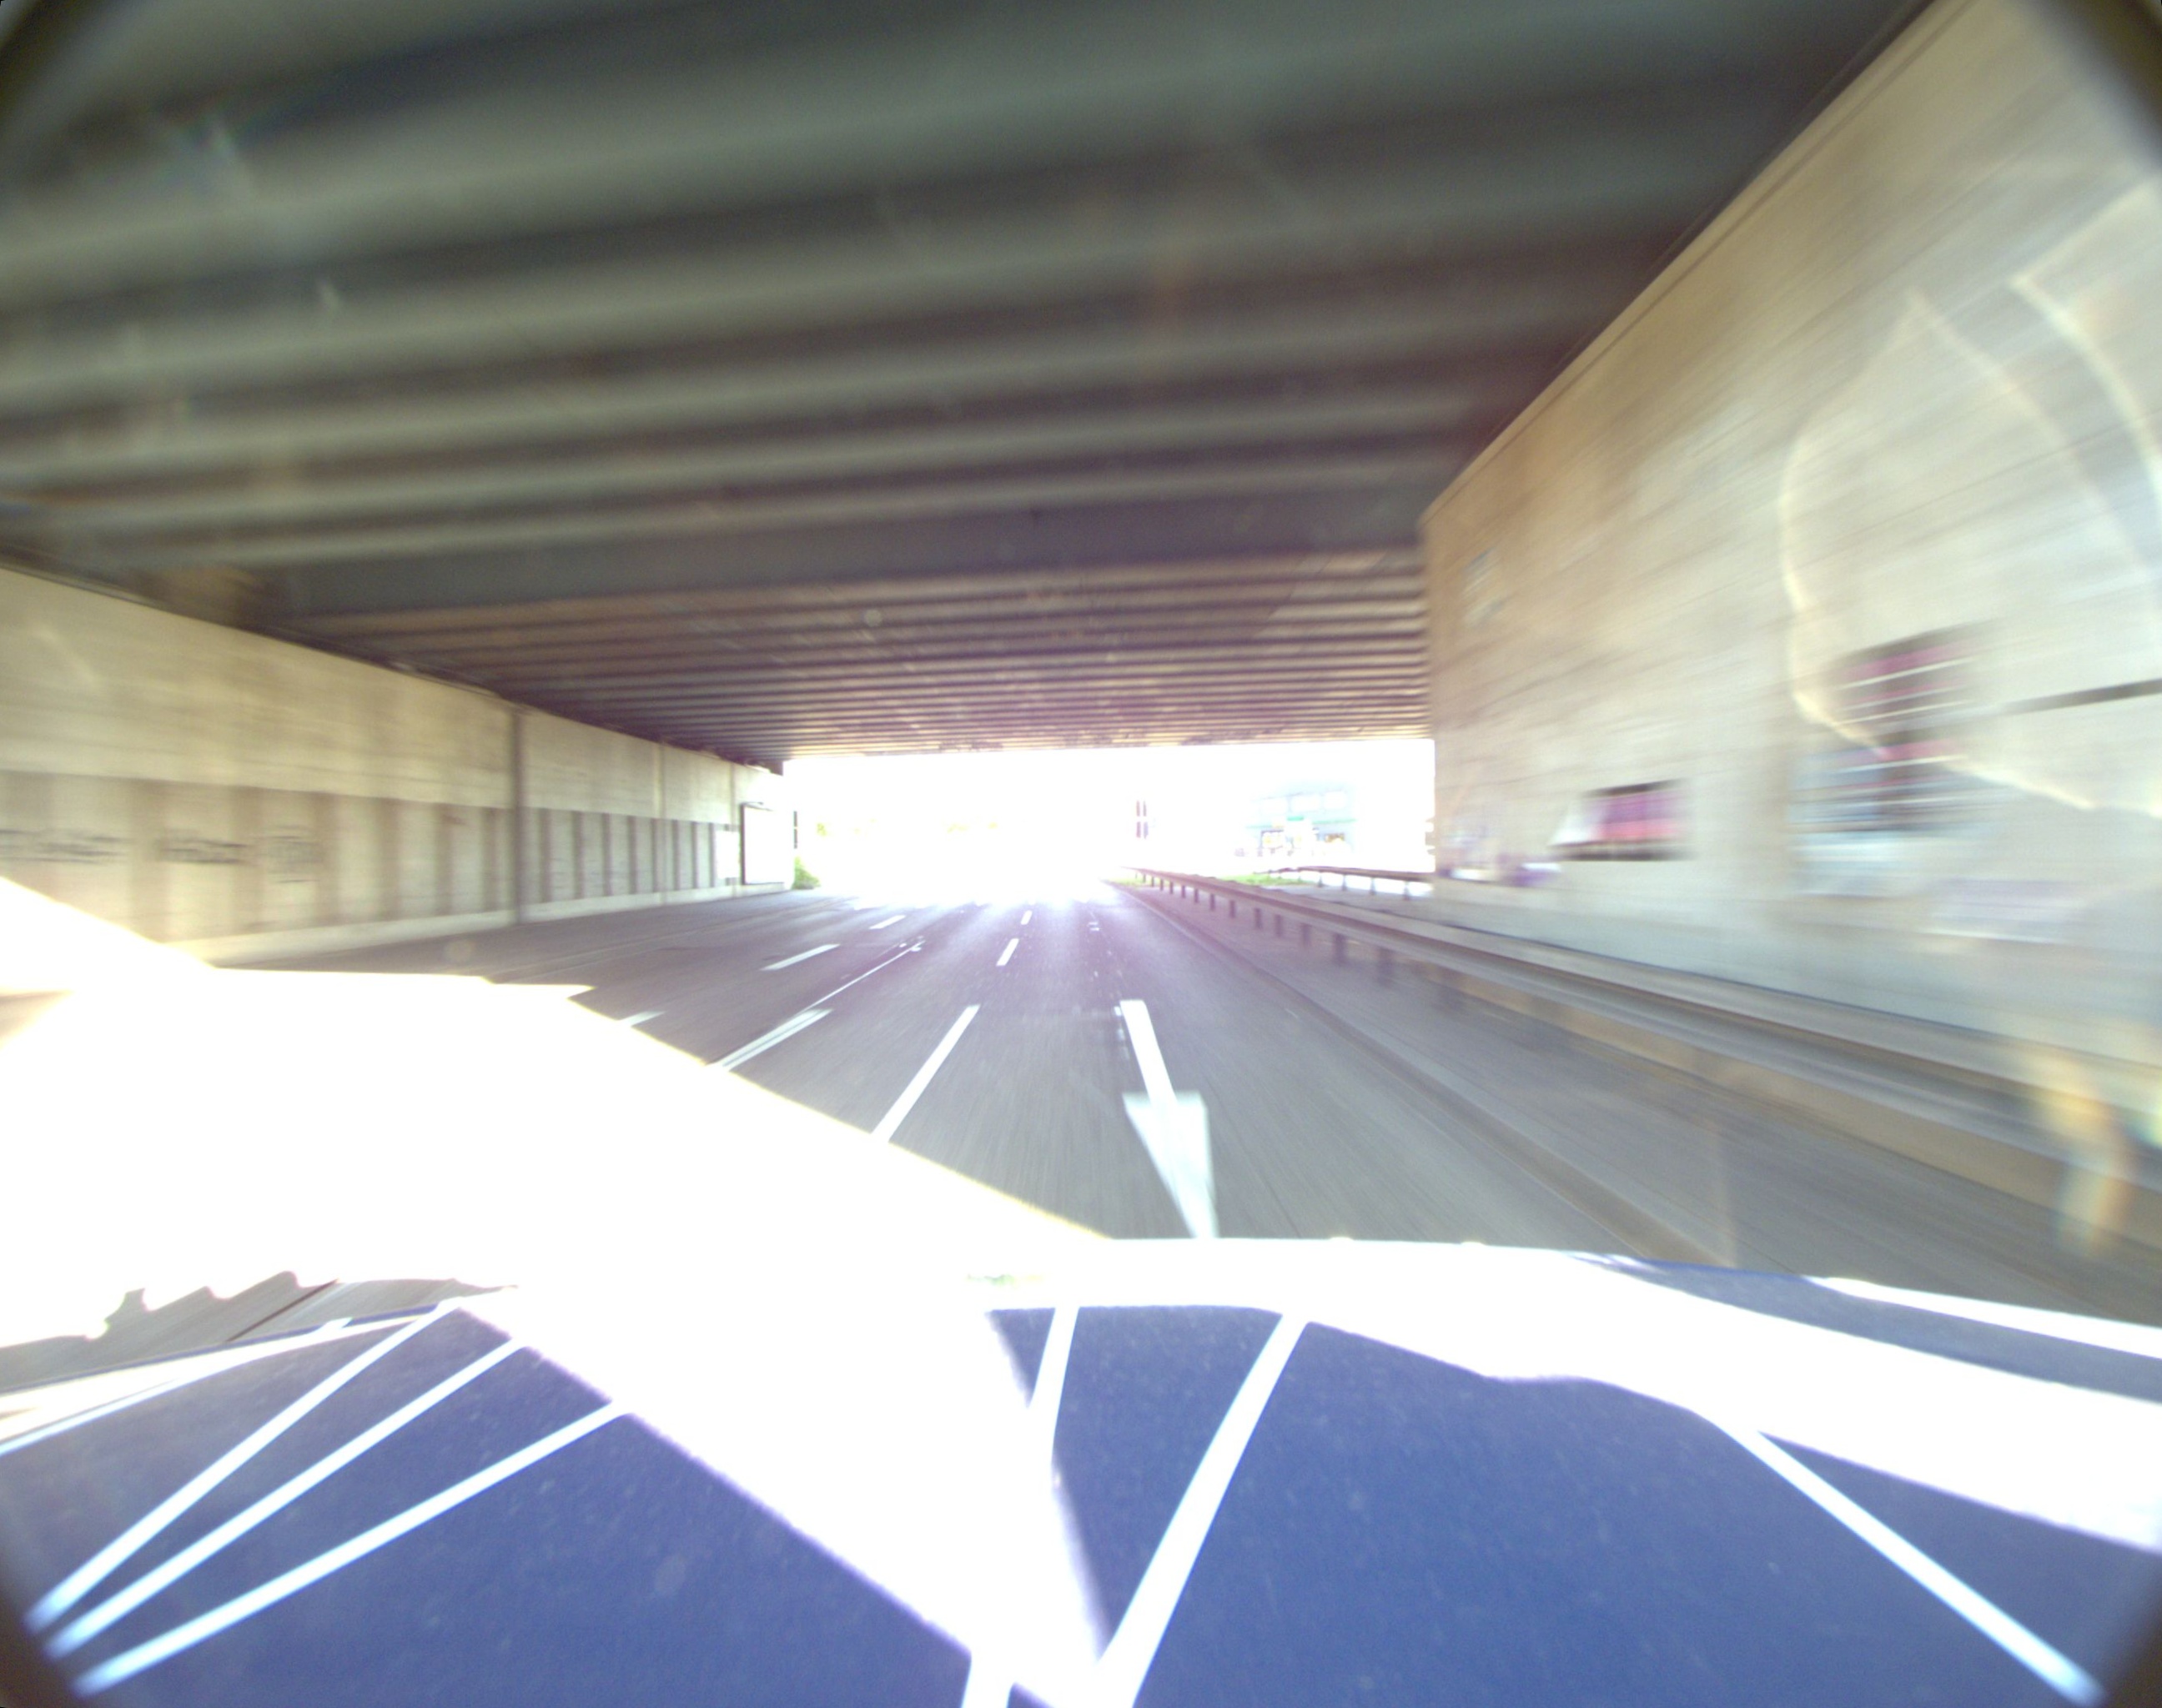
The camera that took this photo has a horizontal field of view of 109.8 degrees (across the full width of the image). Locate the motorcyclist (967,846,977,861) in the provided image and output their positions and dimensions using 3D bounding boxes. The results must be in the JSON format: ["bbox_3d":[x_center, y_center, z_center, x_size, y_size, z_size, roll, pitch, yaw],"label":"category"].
[{"bbox_3d":[-10.916,-0.027,76.204,0.839,1.434,0.878,-2,2,1],"label":"motorcyclist"}]

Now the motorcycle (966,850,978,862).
[{"bbox_3d":[-10.893,0.192,76.178,0.811,1.040,2.353,-2,1,1],"label":"motorcycle"}]

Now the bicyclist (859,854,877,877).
[{"bbox_3d":[-13.502,0.714,48.080,0.844,1.413,1.111,-3,2,-27],"label":"bicyclist"}]

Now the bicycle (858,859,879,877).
[{"bbox_3d":[-13.432,0.880,48.013,0.784,1.051,2.491,-3,1,-27],"label":"bicycle"}]

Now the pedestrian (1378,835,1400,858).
[{"bbox_3d":[25.294,-0.630,62.408,1.275,1.825,1.084,-2,2,-5],"label":"pedestrian"}]
